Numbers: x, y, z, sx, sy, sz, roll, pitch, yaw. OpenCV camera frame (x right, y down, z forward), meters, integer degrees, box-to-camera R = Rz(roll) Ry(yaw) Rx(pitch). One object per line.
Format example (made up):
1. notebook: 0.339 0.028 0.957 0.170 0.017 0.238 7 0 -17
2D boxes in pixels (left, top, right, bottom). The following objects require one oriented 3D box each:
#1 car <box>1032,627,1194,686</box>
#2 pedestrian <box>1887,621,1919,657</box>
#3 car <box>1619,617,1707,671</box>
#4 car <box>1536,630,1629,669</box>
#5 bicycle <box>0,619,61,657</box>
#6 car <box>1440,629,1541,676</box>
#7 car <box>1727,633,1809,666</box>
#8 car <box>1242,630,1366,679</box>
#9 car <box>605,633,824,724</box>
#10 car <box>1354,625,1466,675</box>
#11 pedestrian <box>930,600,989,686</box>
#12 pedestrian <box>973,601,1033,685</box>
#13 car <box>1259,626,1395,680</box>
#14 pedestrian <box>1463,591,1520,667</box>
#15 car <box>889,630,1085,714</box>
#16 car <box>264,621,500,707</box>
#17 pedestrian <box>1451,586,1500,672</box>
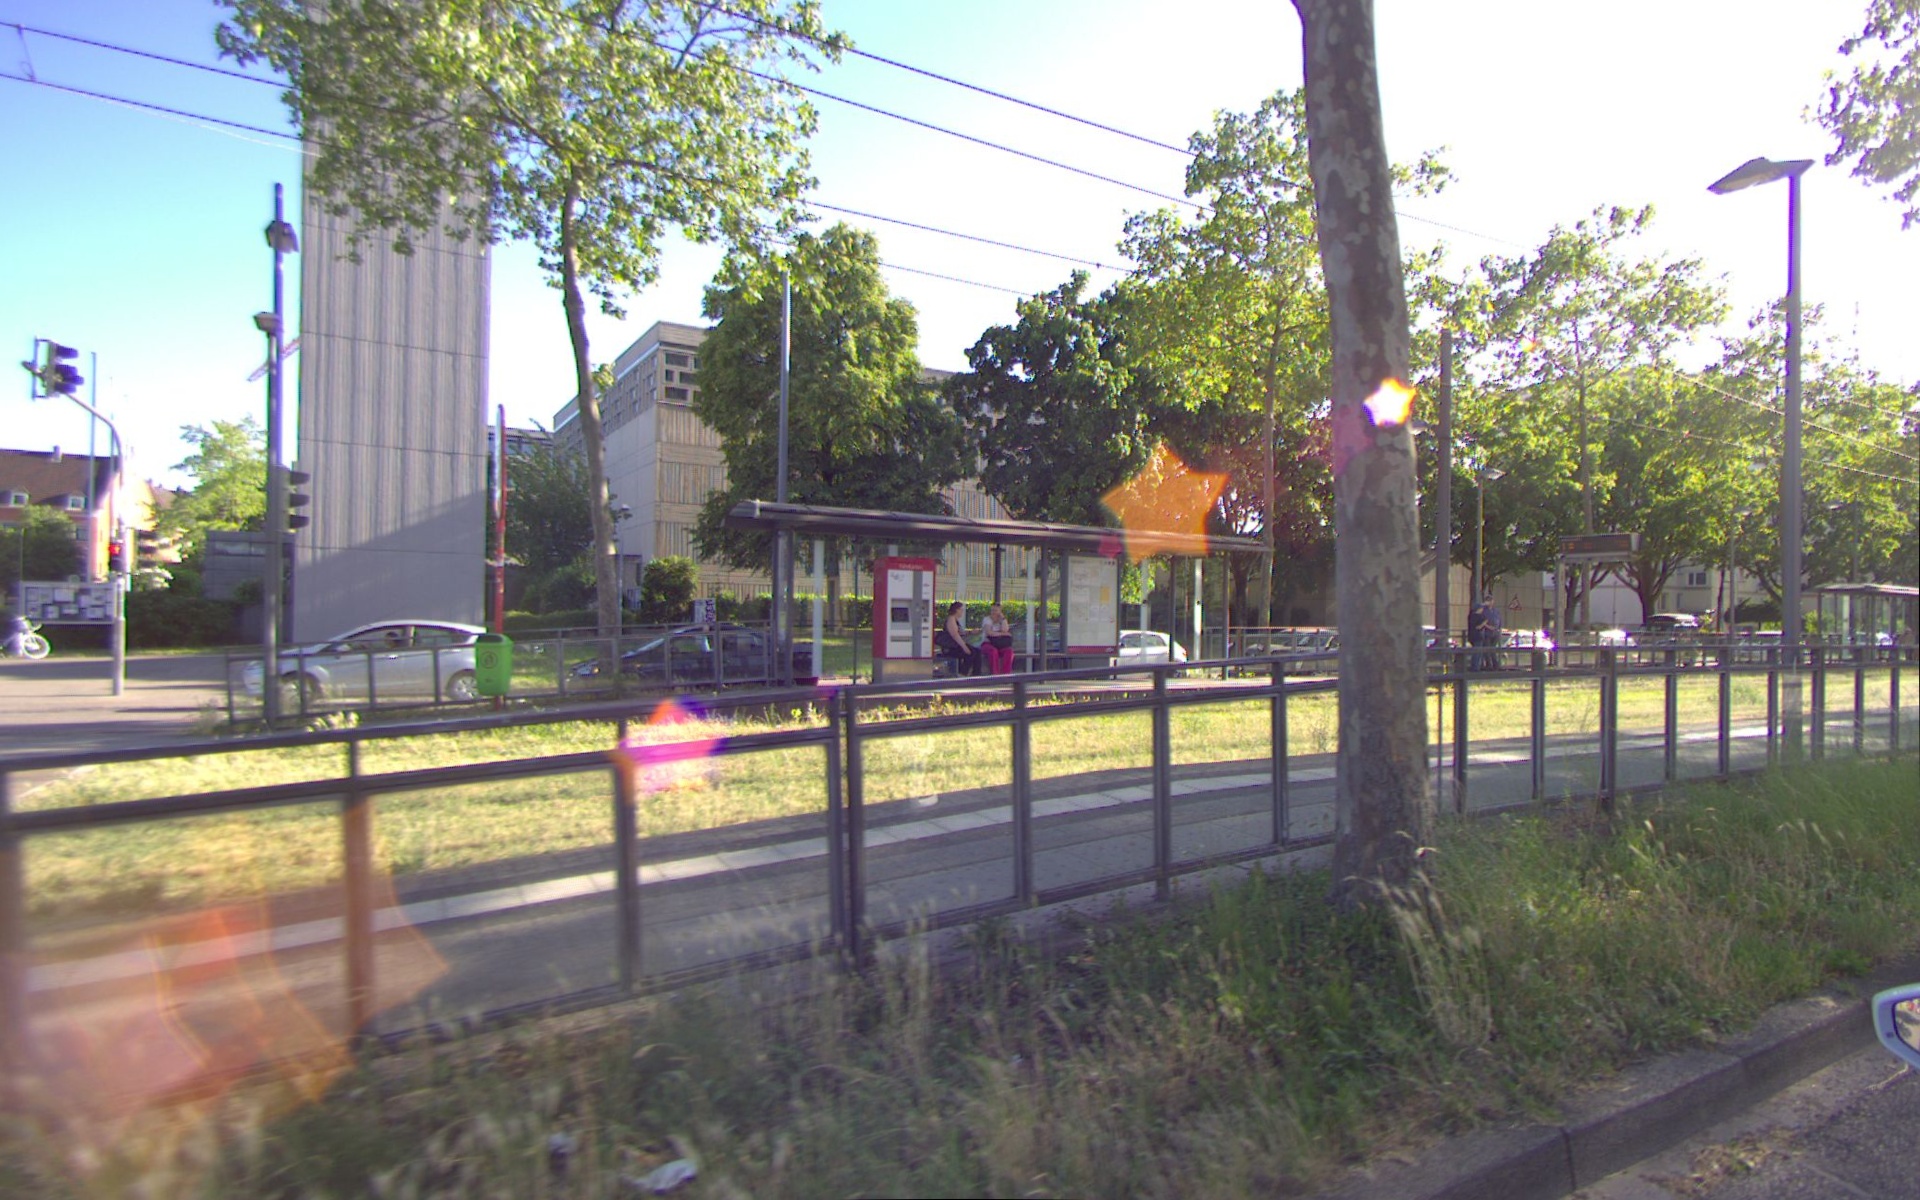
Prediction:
1. car: 3.904 1.399 25.481 3.952 1.372 1.544 1 -1 -29
2. pedestrian: 34.699 1.433 36.744 0.784 1.277 0.840 1 0 -1
3. car: 30.629 1.883 43.738 3.888 2.292 1.705 1 -1 -31
4. car: 25.362 1.987 40.896 3.974 1.508 1.586 1 -1 -31
5. bicycle: -23.618 0.943 25.075 1.681 0.940 0.443 1 -1 -34
6. car: 19.982 1.938 37.768 3.884 1.658 1.586 1 -1 -31
7. car: 39.377 2.383 48.931 3.883 1.566 1.707 1 -1 -28
8. car: 10.992 1.696 32.030 3.883 1.464 1.587 1 -1 -29
9. car: -3.646 1.125 14.993 2.930 1.220 1.319 1 -1 -29
10. car: 15.744 1.727 35.112 3.883 1.654 1.587 1 -1 -29
11. pedestrian: -0.018 0.685 16.206 0.761 1.359 0.732 1 -1 -16
12. pedestrian: 0.713 0.703 16.706 0.725 1.359 0.691 1 -1 -28
13. car: 10.681 1.496 29.171 3.883 1.464 1.587 1 -1 -29
14. pedestrian: 12.208 0.660 23.078 0.745 1.712 0.879 1 0 -29
15. car: 0.547 1.319 19.325 3.498 1.446 1.596 1 -1 -32
16. car: -9.835 1.048 17.241 3.380 1.342 1.317 1 -1 -32
17. pedestrian: 11.587 0.646 22.582 0.629 1.892 0.717 1 0 -29
